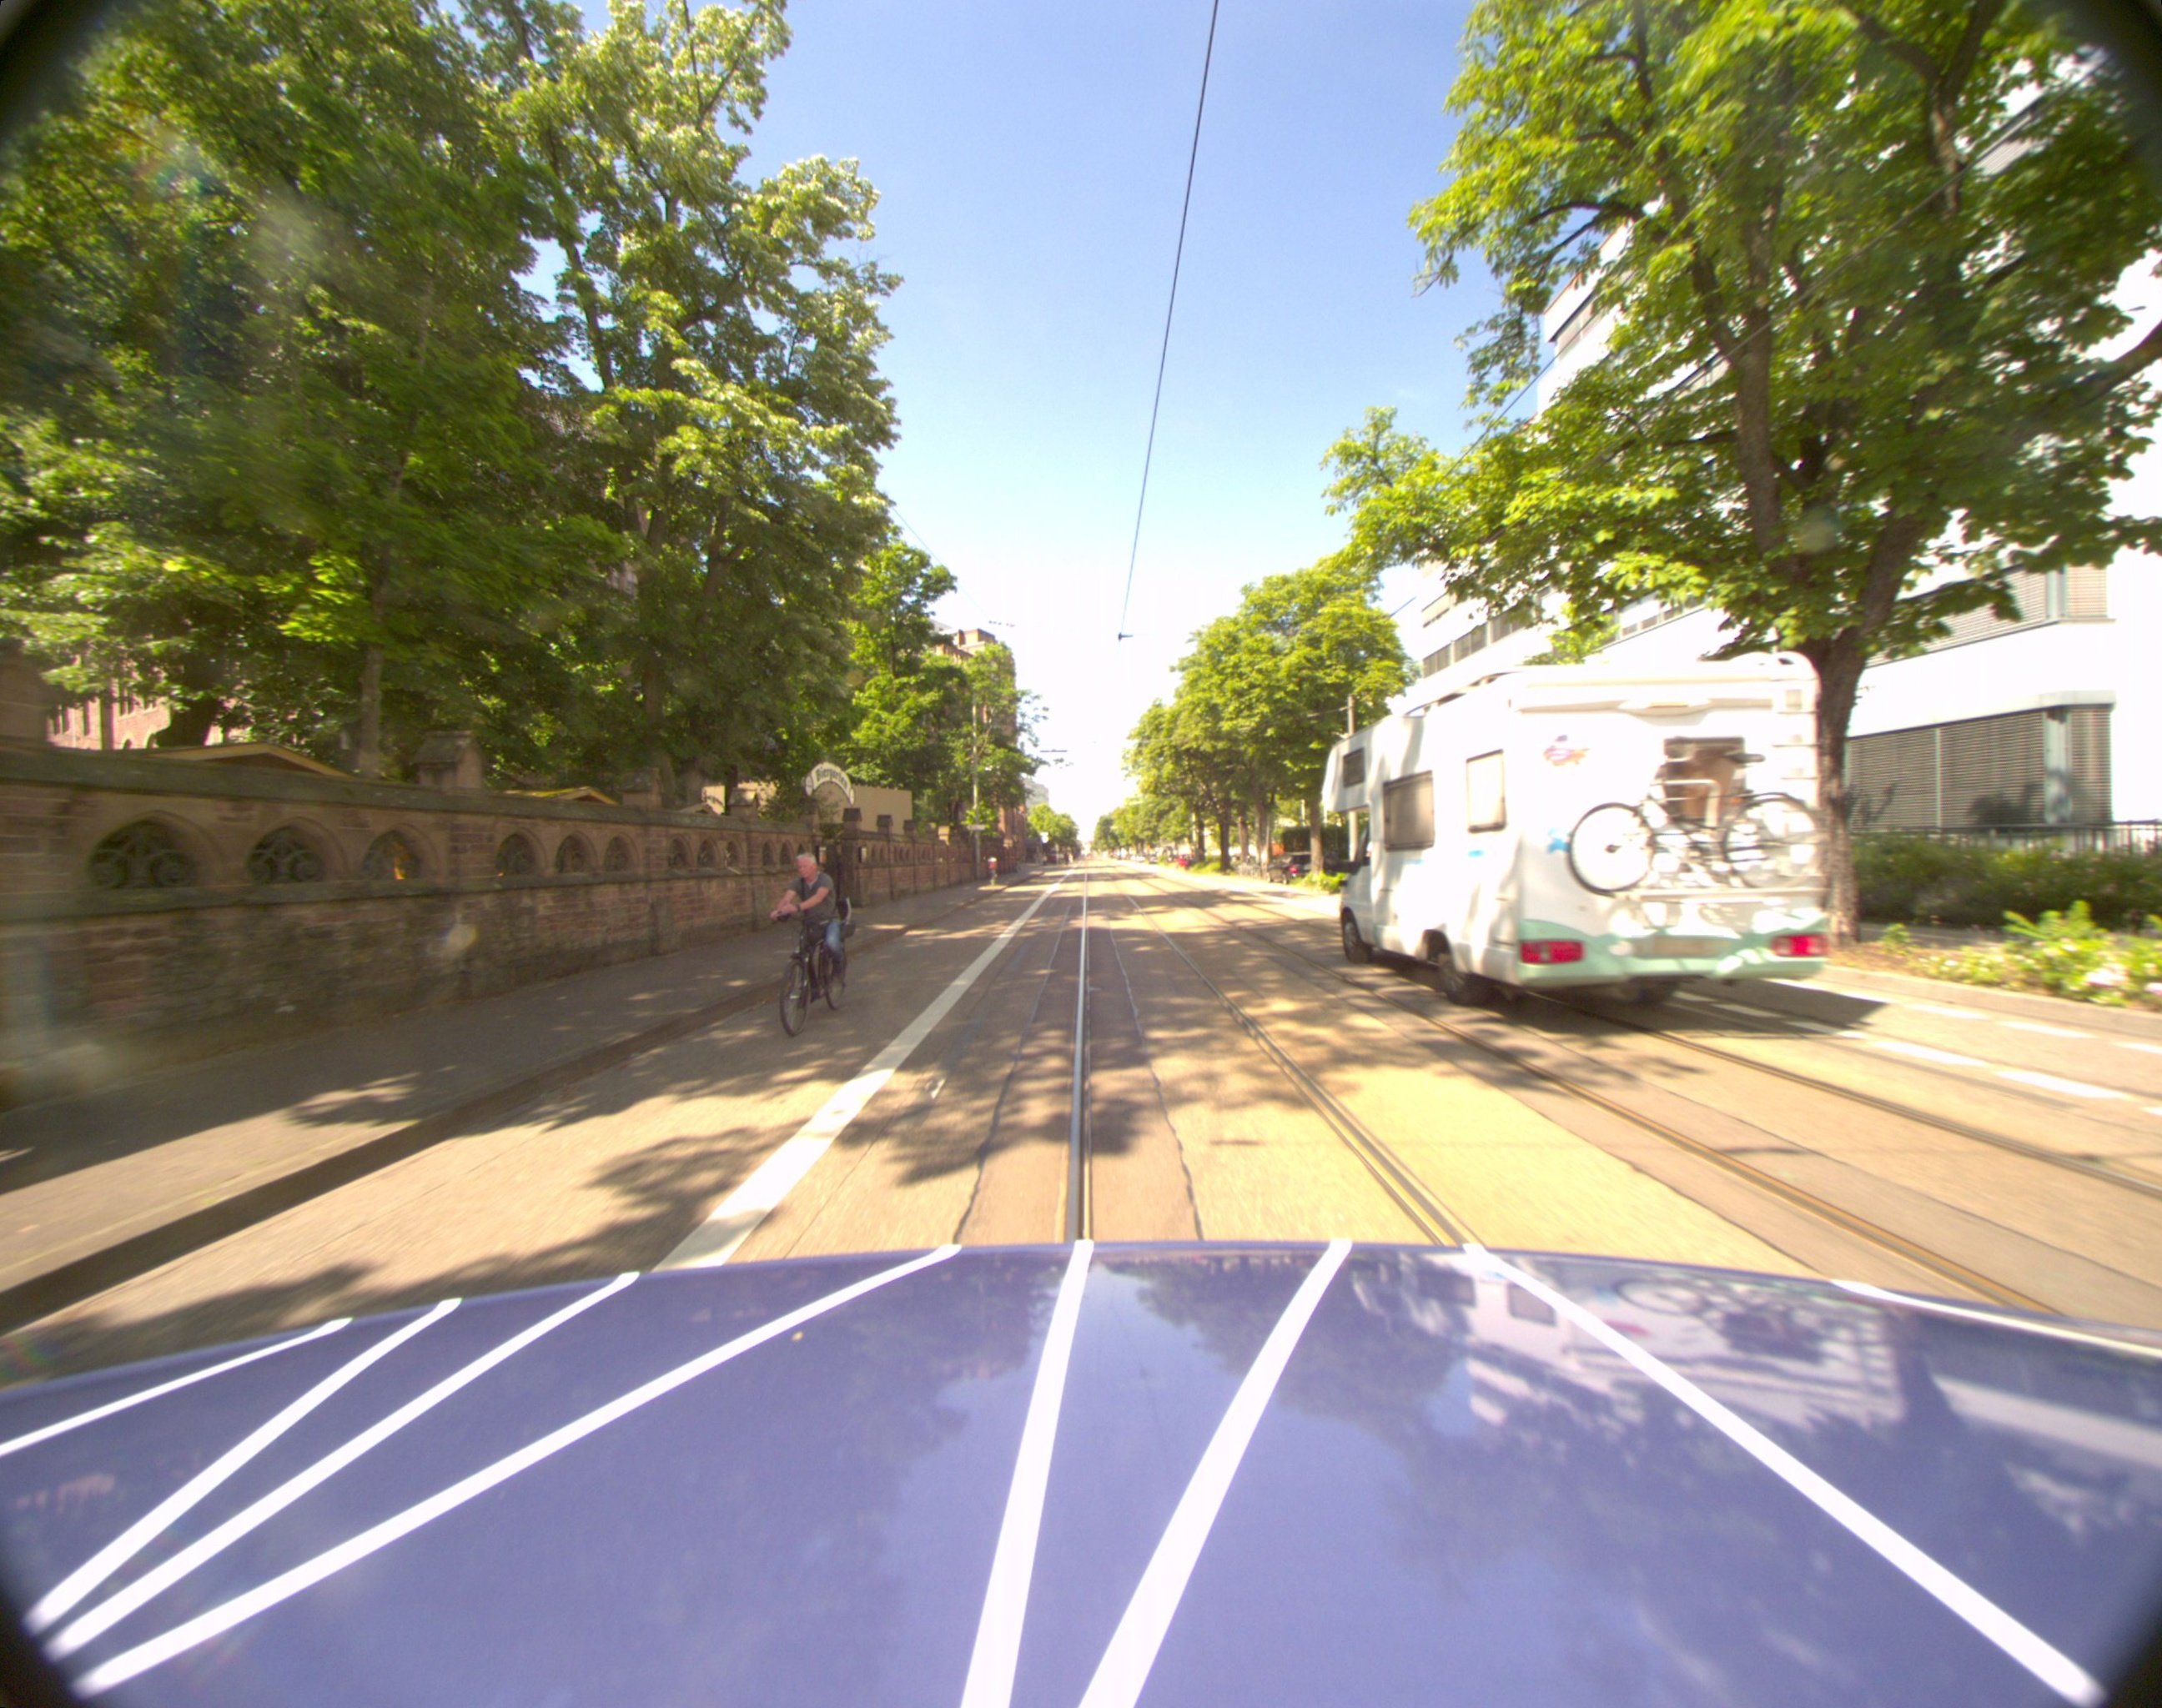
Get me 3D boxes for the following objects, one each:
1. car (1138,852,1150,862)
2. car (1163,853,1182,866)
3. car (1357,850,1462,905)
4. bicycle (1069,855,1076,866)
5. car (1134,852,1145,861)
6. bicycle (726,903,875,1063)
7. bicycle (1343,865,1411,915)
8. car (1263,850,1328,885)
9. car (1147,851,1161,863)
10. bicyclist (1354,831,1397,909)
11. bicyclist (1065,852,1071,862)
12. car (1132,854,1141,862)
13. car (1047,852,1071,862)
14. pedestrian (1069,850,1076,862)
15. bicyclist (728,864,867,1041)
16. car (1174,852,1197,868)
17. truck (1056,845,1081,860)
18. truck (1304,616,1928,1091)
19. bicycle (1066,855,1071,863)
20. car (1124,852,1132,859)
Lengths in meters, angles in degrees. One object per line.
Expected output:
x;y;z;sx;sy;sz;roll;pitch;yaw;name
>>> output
10.221;0.484;123.303;1.634;1.463;4.114;-2;0;1;car
10.115;0.582;84.194;1.634;1.347;3.901;-2;0;-1;car
9.573;0.634;22.428;1.634;1.463;3.631;-2;0;2;car
-1.429;1.104;131.339;0.999;1.734;3.163;-3;0;1;bicycle
10.452;0.434;135.847;1.634;1.463;4.114;-2;0;1;car
-2.701;1.178;7.602;0.611;1.190;2.123;-4;0;0;bicycle
7.317;0.868;18.886;0.858;1.104;2.139;-2;0;1;bicycle
9.755;0.576;34.846;1.634;1.474;4.272;-2;0;-1;car
10.182;0.401;105.693;1.634;1.463;4.114;-2;0;1;car
7.283;0.394;18.820;0.637;1.860;1.024;-2;1;1;bicyclist
-1.826;0.422;107.184;0.742;1.522;0.947;-1;0;2;bicyclist
10.802;0.858;148.492;1.634;1.463;4.114;-2;0;1;car
-4.068;0.501;141.357;4.007;1.800;1.885;-1;0;-36;car
-1.474;0.370;131.821;1.106;2.002;1.166;-3;1;1;pedestrian
-2.777;0.926;7.564;0.905;1.586;0.964;-4;0;1;bicyclist
10.213;0.538;74.237;1.634;1.463;3.719;-2;0;-1;car
-3.291;-0.308;202.306;2.815;3.836;10.016;-1;0;23;truck
4.422;0.002;8.041;2.408;3.090;6.037;-1;0;1;truck
-1.767;0.744;107.239;0.593;1.099;2.054;-2;0;2;bicycle
10.385;0.352;168.486;1.634;1.463;4.114;-2;0;1;car
